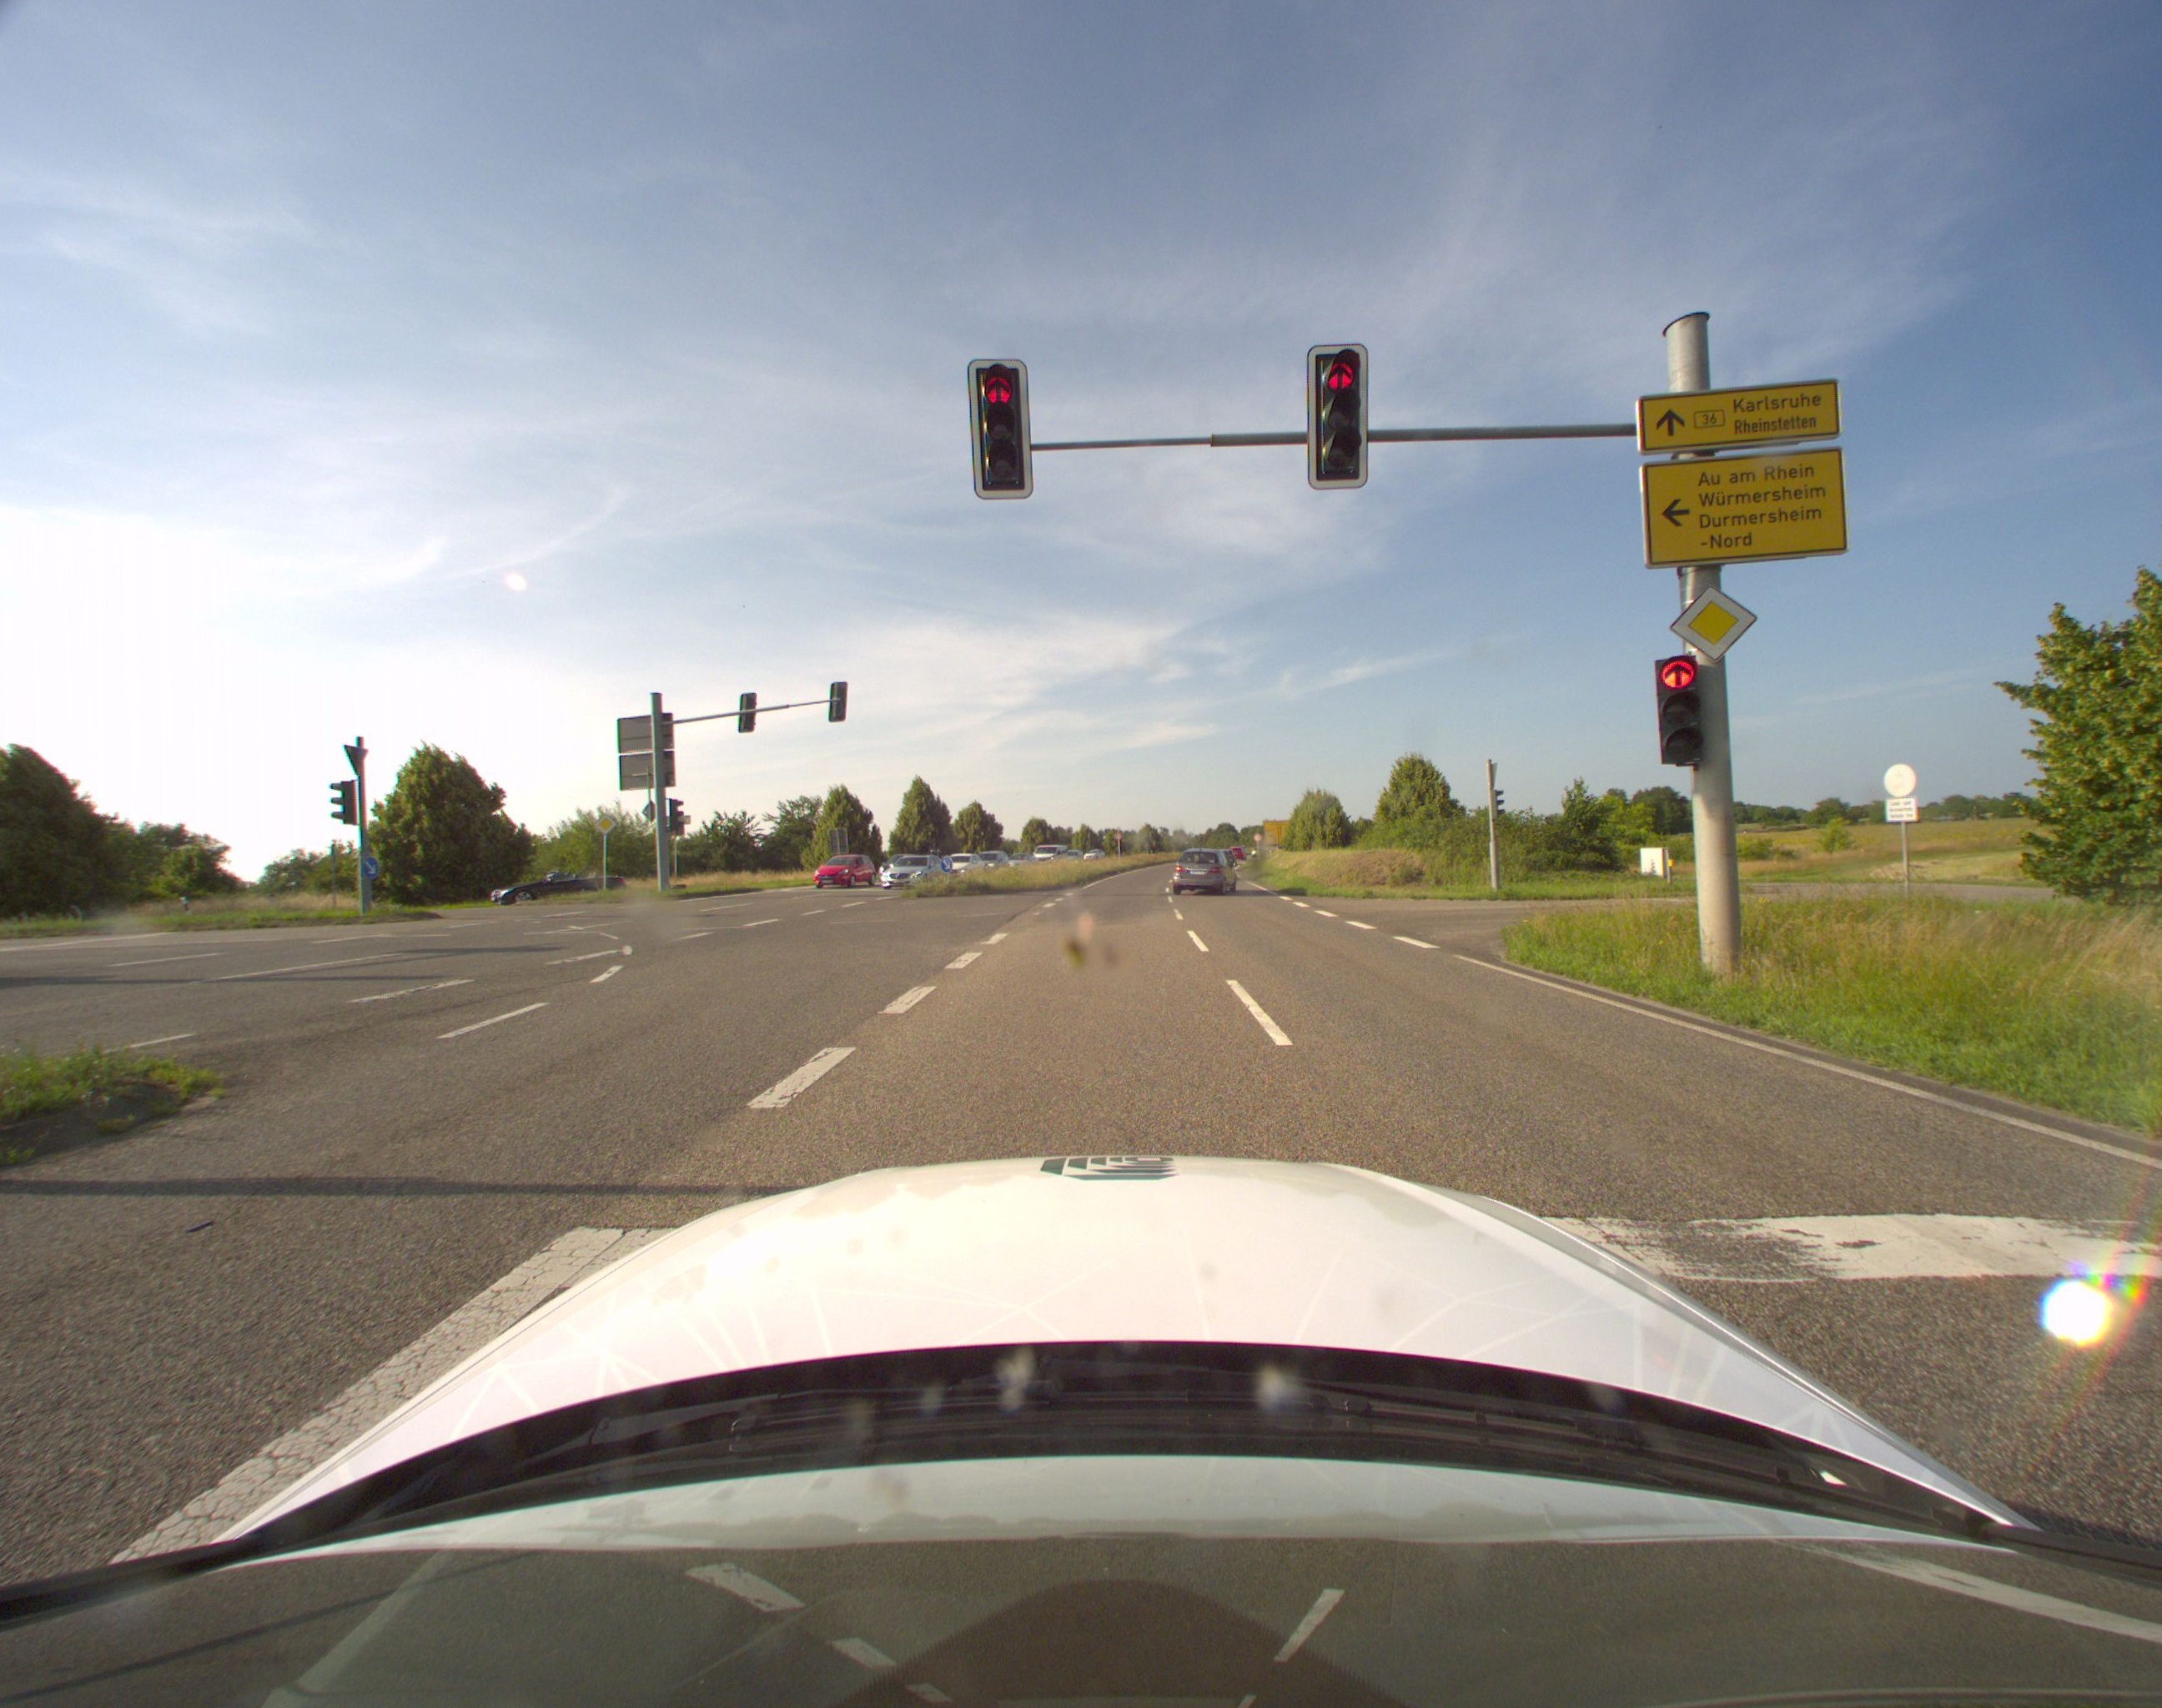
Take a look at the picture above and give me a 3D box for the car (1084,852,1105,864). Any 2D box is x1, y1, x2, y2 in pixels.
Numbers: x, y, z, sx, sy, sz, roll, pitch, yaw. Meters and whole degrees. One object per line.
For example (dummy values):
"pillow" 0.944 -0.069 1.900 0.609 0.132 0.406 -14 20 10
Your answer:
"car" 1.817 0.513 107.129 1.772 1.385 4.068 -2 0 16

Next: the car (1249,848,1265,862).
"car" 24.931 0.145 115.064 1.894 1.800 4.296 -1 -1 16

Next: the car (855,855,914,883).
"car" -10.671 0.786 44.500 1.777 1.433 4.058 -2 0 6

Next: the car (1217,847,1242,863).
"car" 13.923 0.147 76.235 1.900 1.416 3.811 -1 -1 15

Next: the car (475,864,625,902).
"car" -21.169 1.118 32.637 1.704 1.282 4.693 -2 0 39

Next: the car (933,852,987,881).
"car" -6.384 0.645 43.479 1.777 1.433 4.316 -2 0 6

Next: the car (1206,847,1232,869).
"car" 9.917 0.294 58.297 1.761 1.492 3.997 -1 0 10

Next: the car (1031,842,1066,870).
"car" -2.553 0.161 65.253 1.913 2.078 4.255 -2 0 10

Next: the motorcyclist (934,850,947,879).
"motorcyclist" -9.088 0.688 52.685 0.660 1.817 0.605 -2 0 -1

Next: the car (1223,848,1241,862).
"car" 18.084 0.123 97.388 1.882 1.565 4.293 -1 -1 14

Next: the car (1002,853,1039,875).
"car" -4.129 0.674 55.887 1.777 1.385 4.058 -2 0 6

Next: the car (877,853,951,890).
"car" -7.254 0.710 35.775 1.777 1.488 4.659 -2 0 6

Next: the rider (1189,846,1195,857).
"rider" 20.297 -0.430 148.867 0.861 2.013 0.775 -2 0 17

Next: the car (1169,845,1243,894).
"car" 4.552 0.559 29.208 1.769 1.605 4.217 -1 -1 21

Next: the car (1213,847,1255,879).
"car" 8.046 0.439 42.434 1.796 1.565 4.549 -1 0 15

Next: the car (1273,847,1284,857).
"car" 36.742 -0.331 151.410 1.894 1.734 4.296 -1 -1 16

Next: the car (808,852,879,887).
"car" -10.868 0.683 37.531 1.711 1.488 3.812 -2 0 7

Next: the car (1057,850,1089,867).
"car" -0.680 0.387 73.391 1.772 1.385 4.068 -2 0 16

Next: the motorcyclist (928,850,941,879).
"motorcyclist" -8.918 0.622 49.568 0.660 1.747 0.605 -2 0 -1

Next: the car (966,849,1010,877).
"car" -5.625 0.527 49.711 1.777 1.568 4.058 -2 0 6
